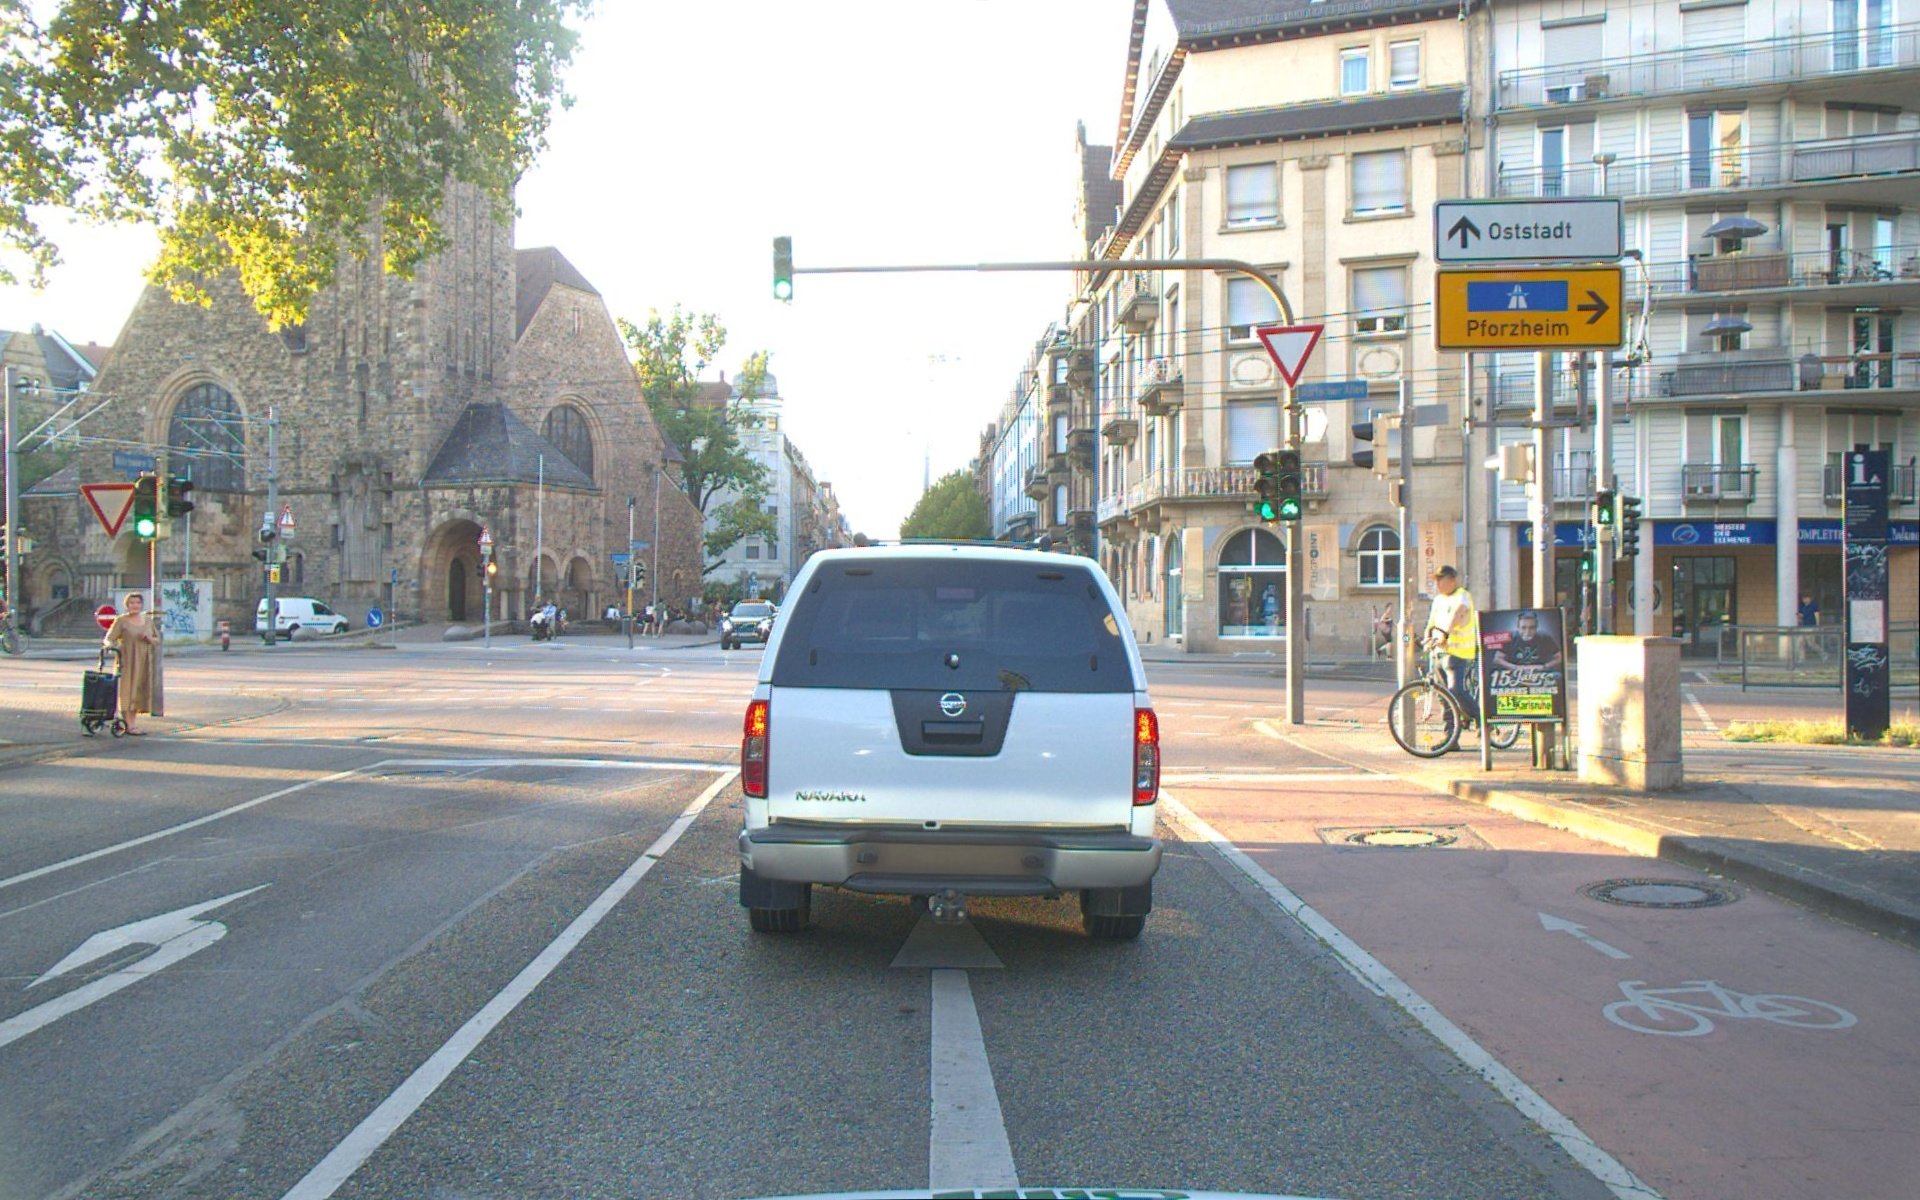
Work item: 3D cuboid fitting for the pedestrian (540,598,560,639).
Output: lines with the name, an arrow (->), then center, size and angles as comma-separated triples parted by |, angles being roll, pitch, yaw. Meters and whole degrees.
pedestrian -> -17.398, 0.782, 70.219 | 0.620, 1.728, 0.603 | 1, -1, 10

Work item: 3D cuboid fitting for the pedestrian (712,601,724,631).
pedestrian -> -15.430, 1.006, 105.419 | 0.632, 1.888, 0.559 | 1, -1, -15

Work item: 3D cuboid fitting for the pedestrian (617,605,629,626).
pedestrian -> -16.249, 0.741, 79.816 | 0.513, 0.977, 0.477 | 1, -1, -17

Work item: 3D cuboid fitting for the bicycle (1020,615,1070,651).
bicycle -> 3.234, 1.258, 63.049 | 1.781, 1.259, 0.487 | -3, -1, -3

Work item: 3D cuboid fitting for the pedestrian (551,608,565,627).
pedestrian -> -20.792, 0.906, 85.583 | 0.545, 0.977, 0.704 | 1, -1, -26

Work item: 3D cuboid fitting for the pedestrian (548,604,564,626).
pedestrian -> -18.135, 0.683, 74.246 | 0.511, 0.977, 0.479 | 0, -1, 18

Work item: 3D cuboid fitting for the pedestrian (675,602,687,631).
pedestrian -> -16.758, 0.981, 99.394 | 0.630, 1.725, 0.561 | 1, -1, -2

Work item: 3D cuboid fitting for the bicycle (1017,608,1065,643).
bicycle -> 3.179, 1.010, 65.094 | 1.781, 1.259, 0.410 | -3, -1, -3

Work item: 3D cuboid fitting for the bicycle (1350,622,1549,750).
bicycle -> 4.596, 0.786, 15.459 | 2.046, 1.129, 0.621 | 1, -1, -34

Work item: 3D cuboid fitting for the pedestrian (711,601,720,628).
pedestrian -> -15.688, 0.929, 106.255 | 0.549, 1.725, 0.643 | 1, -1, -9

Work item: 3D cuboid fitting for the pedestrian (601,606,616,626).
pedestrian -> -16.981, 0.782, 79.973 | 0.510, 0.977, 0.479 | 1, -1, 16

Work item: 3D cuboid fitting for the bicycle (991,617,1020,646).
bicycle -> 1.751, 1.214, 63.433 | 1.055, 1.042, 0.317 | -3, -1, -3

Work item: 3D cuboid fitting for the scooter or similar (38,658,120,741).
scooter or similar -> -10.058, 1.129, 18.908 | 0.580, 0.913, 0.849 | 1, -1, -11

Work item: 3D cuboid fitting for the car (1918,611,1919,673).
car -> 24.759, 1.016, 38.649 | 3.906, 1.512, 1.849 | 0, -1, 24

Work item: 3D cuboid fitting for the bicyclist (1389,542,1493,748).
bicyclist -> 4.472, 0.413, 15.380 | 0.690, 1.856, 0.621 | 2, -1, -33

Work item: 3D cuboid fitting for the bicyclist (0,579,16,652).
bicyclist -> -25.001, 0.404, 42.720 | 0.644, 1.859, 0.857 | 1, 1, 32

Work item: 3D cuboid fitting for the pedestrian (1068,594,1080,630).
pedestrian -> 5.408, 0.579, 78.587 | 0.517, 1.683, 0.547 | 1, -1, -1

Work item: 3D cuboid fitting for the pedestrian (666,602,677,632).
pedestrian -> -16.937, 0.986, 97.089 | 0.631, 1.725, 0.560 | 1, -1, -10

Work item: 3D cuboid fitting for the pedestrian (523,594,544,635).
pedestrian -> -18.092, 0.628, 70.173 | 0.620, 1.728, 0.603 | 1, -1, 8

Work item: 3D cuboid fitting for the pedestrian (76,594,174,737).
pedestrian -> -9.971, 0.775, 19.776 | 0.786, 1.656, 0.773 | 1, -1, -6

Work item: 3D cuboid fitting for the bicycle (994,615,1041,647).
bicycle -> 2.180, 1.162, 62.558 | 1.692, 1.102, 0.317 | -3, -1, -3

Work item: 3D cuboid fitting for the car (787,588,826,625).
car -> -8.859, 0.361, 96.016 | 1.953, 2.049, 4.948 | 0, 0, -2

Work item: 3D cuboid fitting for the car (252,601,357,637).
car -> -29.243, 0.871, 73.930 | 1.679, 1.543, 4.454 | 0, -1, 23

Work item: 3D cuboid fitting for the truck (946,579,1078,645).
truck -> 2.193, 0.510, 68.662 | 5.630, 2.610, 2.250 | 1, -1, -45

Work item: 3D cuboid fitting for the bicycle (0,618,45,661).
bicycle -> -24.987, 1.019, 42.779 | 0.645, 1.096, 2.239 | 3, 0, 32

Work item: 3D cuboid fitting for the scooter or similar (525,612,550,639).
scooter or similar -> -17.628, 1.082, 69.046 | 0.620, 1.123, 1.079 | 0, -1, 10

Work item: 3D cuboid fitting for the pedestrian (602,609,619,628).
pedestrian -> -18.588, 0.974, 87.978 | 0.540, 0.977, 0.710 | 0, -1, 20

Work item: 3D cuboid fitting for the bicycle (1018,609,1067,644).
bicycle -> 3.172, 1.026, 63.763 | 1.781, 1.259, 0.477 | -3, -1, -3

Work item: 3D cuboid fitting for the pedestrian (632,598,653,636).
pedestrian -> -14.615, 0.789, 76.080 | 0.796, 1.699, 0.859 | 1, -1, -3

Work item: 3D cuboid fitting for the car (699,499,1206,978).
car -> -0.054, 0.571, 8.470 | 1.953, 1.841, 3.999 | 1, -1, -1

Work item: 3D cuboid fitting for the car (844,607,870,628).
car -> -7.816, 1.335, 125.430 | 1.821, 1.556, 3.998 | 1, -1, -2

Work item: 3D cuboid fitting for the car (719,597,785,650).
car -> -7.684, 0.834, 61.511 | 1.953, 1.815, 4.795 | 1, 0, -2

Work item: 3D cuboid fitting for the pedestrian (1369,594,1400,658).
pedestrian -> 12.230, 0.742, 47.644 | 0.771, 1.810, 0.543 | 0, -1, 24

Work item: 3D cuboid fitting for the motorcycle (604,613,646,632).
motorcycle -> -18.493, 1.229, 91.233 | 2.201, 1.005, 0.707 | 1, -1, -7

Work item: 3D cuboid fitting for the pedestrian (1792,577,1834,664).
pedestrian -> 22.412, 0.541, 43.478 | 0.850, 2.247, 0.821 | 0, -1, 19

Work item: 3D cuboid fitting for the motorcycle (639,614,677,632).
motorcycle -> -17.463, 1.307, 95.564 | 2.119, 1.005, 0.594 | 1, -1, 19

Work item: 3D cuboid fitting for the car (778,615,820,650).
car -> -7.677, 1.532, 78.797 | 1.955, 1.585, 4.762 | -1, -1, -6

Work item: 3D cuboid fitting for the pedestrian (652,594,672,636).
pedestrian -> -13.701, 0.700, 76.162 | 0.796, 1.934, 0.666 | 1, -1, -3

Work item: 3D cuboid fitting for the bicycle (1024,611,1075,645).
bicycle -> 3.357, 1.045, 62.114 | 1.781, 1.170, 0.636 | -3, -1, -3
